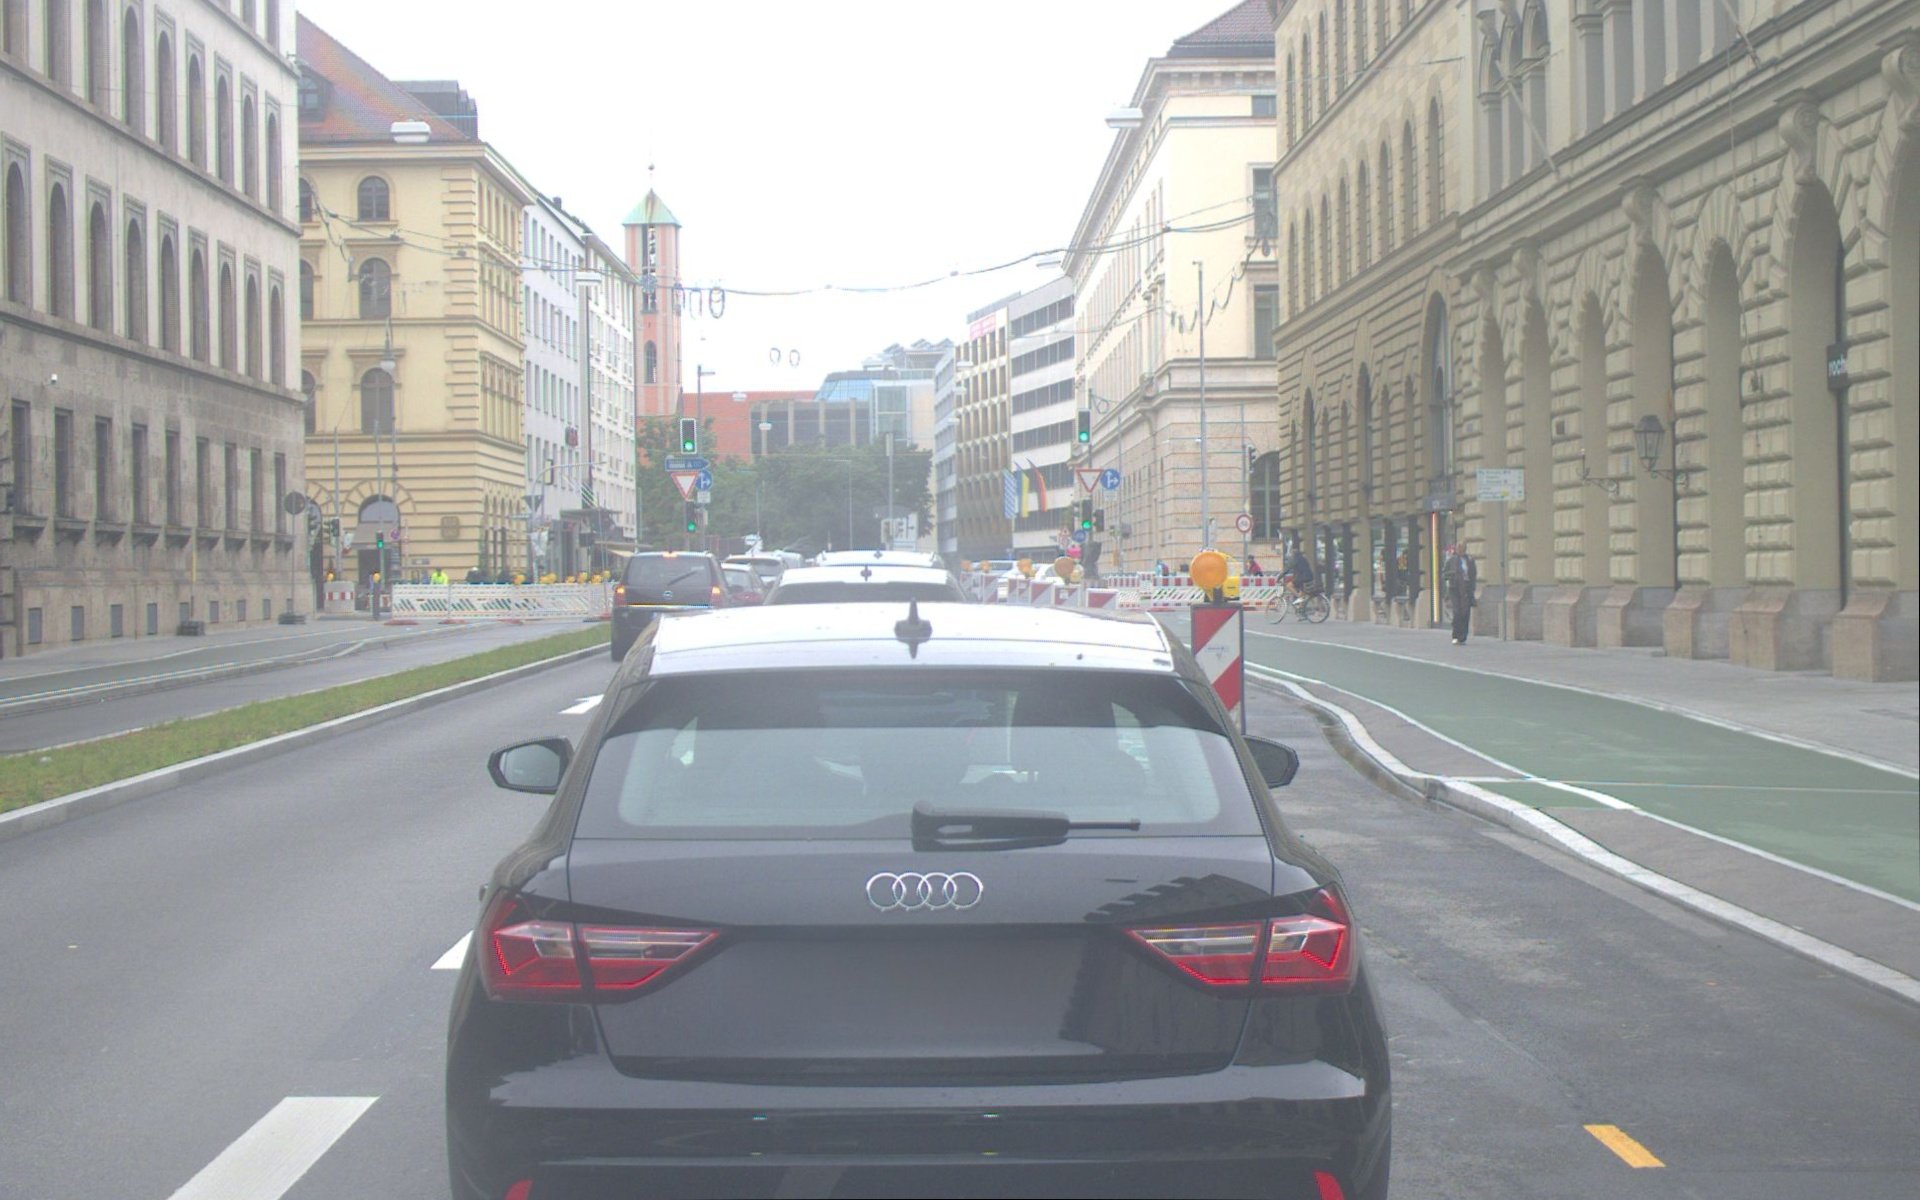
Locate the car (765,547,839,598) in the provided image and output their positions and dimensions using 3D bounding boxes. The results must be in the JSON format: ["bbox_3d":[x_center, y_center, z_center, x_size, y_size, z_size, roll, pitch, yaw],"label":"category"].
[{"bbox_3d":[-4.571,-0.816,100.181,1.993,1.439,4.000,-1,1,0],"label":"car"}]

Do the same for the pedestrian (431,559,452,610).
[{"bbox_3d":[-18.601,-0.553,123.360,0.656,1.799,0.727,-1,1,-1],"label":"pedestrian"}]

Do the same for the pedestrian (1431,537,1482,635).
[{"bbox_3d":[8.207,-0.235,56.854,0.710,1.612,0.754,-1,1,-1],"label":"pedestrian"}]

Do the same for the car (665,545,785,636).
[{"bbox_3d":[-4.377,-0.200,64.472,1.993,1.622,4.000,-1,1,0],"label":"car"}]

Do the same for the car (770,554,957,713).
[{"bbox_3d":[-0.933,0.285,34.065,1.730,1.456,4.000,1,1,-1],"label":"car"}]

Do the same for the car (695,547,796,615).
[{"bbox_3d":[-4.675,-0.433,75.364,1.993,1.439,4.000,-1,1,0],"label":"car"}]

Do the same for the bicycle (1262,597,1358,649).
[{"bbox_3d":[8.002,0.519,78.636,2.170,1.152,0.729,0,1,43],"label":"bicycle"}]

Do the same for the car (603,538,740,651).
[{"bbox_3d":[-4.287,-0.103,51.491,1.764,1.610,4.030,1,1,-1],"label":"car"}]

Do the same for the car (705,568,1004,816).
[{"bbox_3d":[-0.648,0.521,22.045,1.730,1.398,4.000,1,1,-1],"label":"car"}]

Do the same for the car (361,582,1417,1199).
[{"bbox_3d":[-0.151,0.692,7.673,1.730,1.398,4.000,1,1,-1],"label":"car"}]

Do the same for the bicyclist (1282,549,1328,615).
[{"bbox_3d":[7.900,-0.405,78.717,0.754,1.495,0.710,0,1,43],"label":"bicyclist"}]
